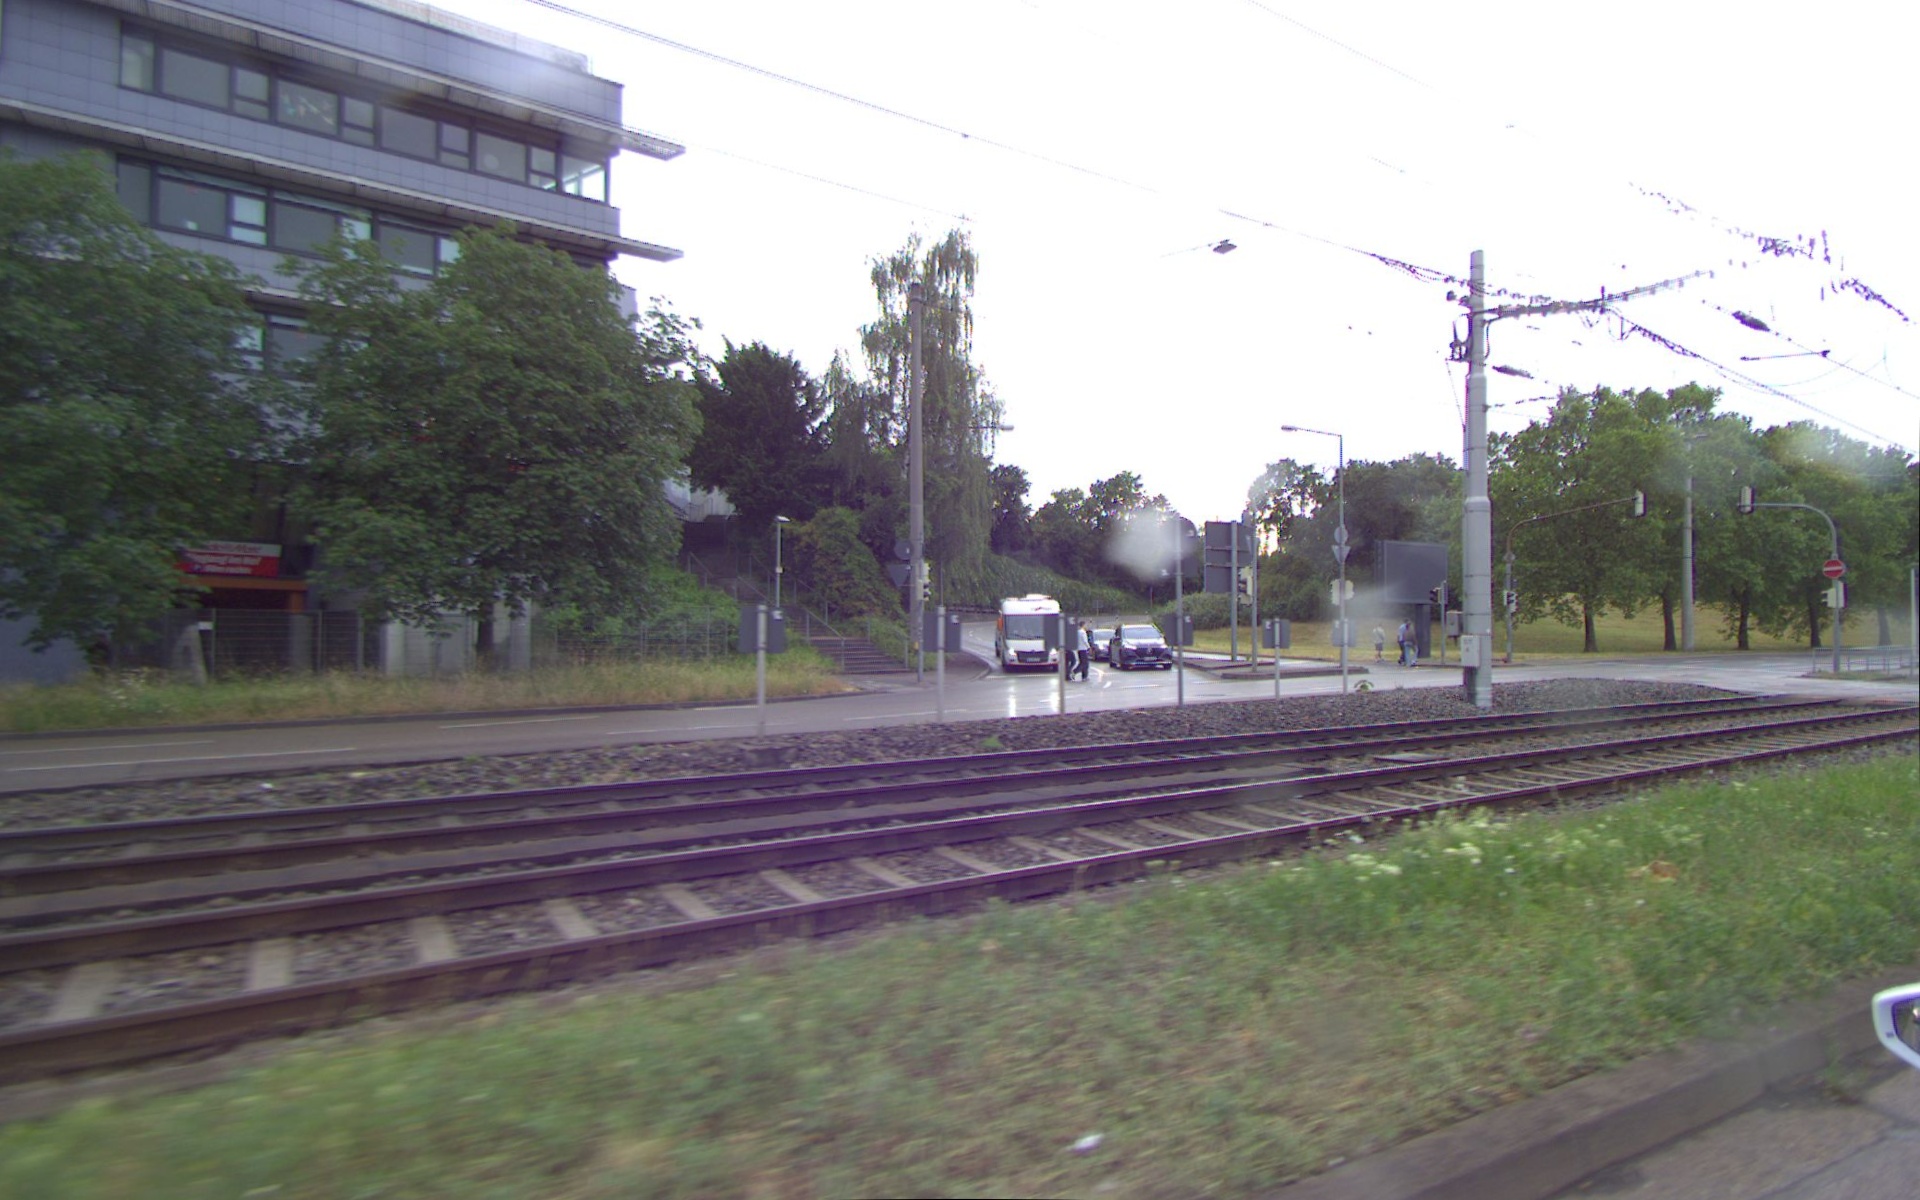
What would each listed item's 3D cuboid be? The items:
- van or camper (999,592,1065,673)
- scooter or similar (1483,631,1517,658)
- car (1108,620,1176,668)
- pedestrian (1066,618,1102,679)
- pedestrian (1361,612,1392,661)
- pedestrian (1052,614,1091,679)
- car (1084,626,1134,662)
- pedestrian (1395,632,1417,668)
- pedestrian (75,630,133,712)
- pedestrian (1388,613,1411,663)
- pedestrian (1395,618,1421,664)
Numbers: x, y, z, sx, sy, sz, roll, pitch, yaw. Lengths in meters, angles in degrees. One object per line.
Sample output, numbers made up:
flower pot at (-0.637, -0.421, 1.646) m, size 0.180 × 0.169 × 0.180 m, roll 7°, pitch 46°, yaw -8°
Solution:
van or camper at (2.823, 1.273, 41.083) m, size 2.441 × 3.006 × 7.377 m, roll 0°, pitch -1°, yaw 2°
scooter or similar at (24.179, 1.997, 45.005) m, size 1.254 × 1.177 × 0.380 m, roll -1°, pitch -1°, yaw 13°
car at (7.151, 1.688, 39.987) m, size 1.960 × 1.755 × 4.632 m, roll 0°, pitch -1°, yaw 1°
pedestrian at (3.911, 1.516, 31.720) m, size 0.940 × 1.892 × 0.632 m, roll 1°, pitch -1°, yaw -24°
pedestrian at (17.659, 1.530, 42.576) m, size 0.858 × 2.040 × 0.880 m, roll 1°, pitch -1°, yaw -37°
pedestrian at (3.576, 1.470, 32.238) m, size 0.932 × 2.040 × 0.884 m, roll 1°, pitch -1°, yaw -24°
car at (6.984, 2.055, 47.427) m, size 1.803 × 1.586 × 4.001 m, roll 0°, pitch -1°, yaw 1°
pedestrian at (18.876, 2.095, 42.502) m, size 0.713 × 1.493 × 0.493 m, roll 1°, pitch 1°, yaw -31°
pedestrian at (-19.362, 1.582, 22.743) m, size 0.867 × 1.779 × 0.721 m, roll 1°, pitch 1°, yaw -30°
pedestrian at (17.772, 1.528, 40.635) m, size 0.713 × 1.982 × 0.493 m, roll 1°, pitch 1°, yaw -29°
pedestrian at (17.885, 1.626, 40.077) m, size 0.821 × 1.811 × 0.504 m, roll 1°, pitch 1°, yaw -28°
